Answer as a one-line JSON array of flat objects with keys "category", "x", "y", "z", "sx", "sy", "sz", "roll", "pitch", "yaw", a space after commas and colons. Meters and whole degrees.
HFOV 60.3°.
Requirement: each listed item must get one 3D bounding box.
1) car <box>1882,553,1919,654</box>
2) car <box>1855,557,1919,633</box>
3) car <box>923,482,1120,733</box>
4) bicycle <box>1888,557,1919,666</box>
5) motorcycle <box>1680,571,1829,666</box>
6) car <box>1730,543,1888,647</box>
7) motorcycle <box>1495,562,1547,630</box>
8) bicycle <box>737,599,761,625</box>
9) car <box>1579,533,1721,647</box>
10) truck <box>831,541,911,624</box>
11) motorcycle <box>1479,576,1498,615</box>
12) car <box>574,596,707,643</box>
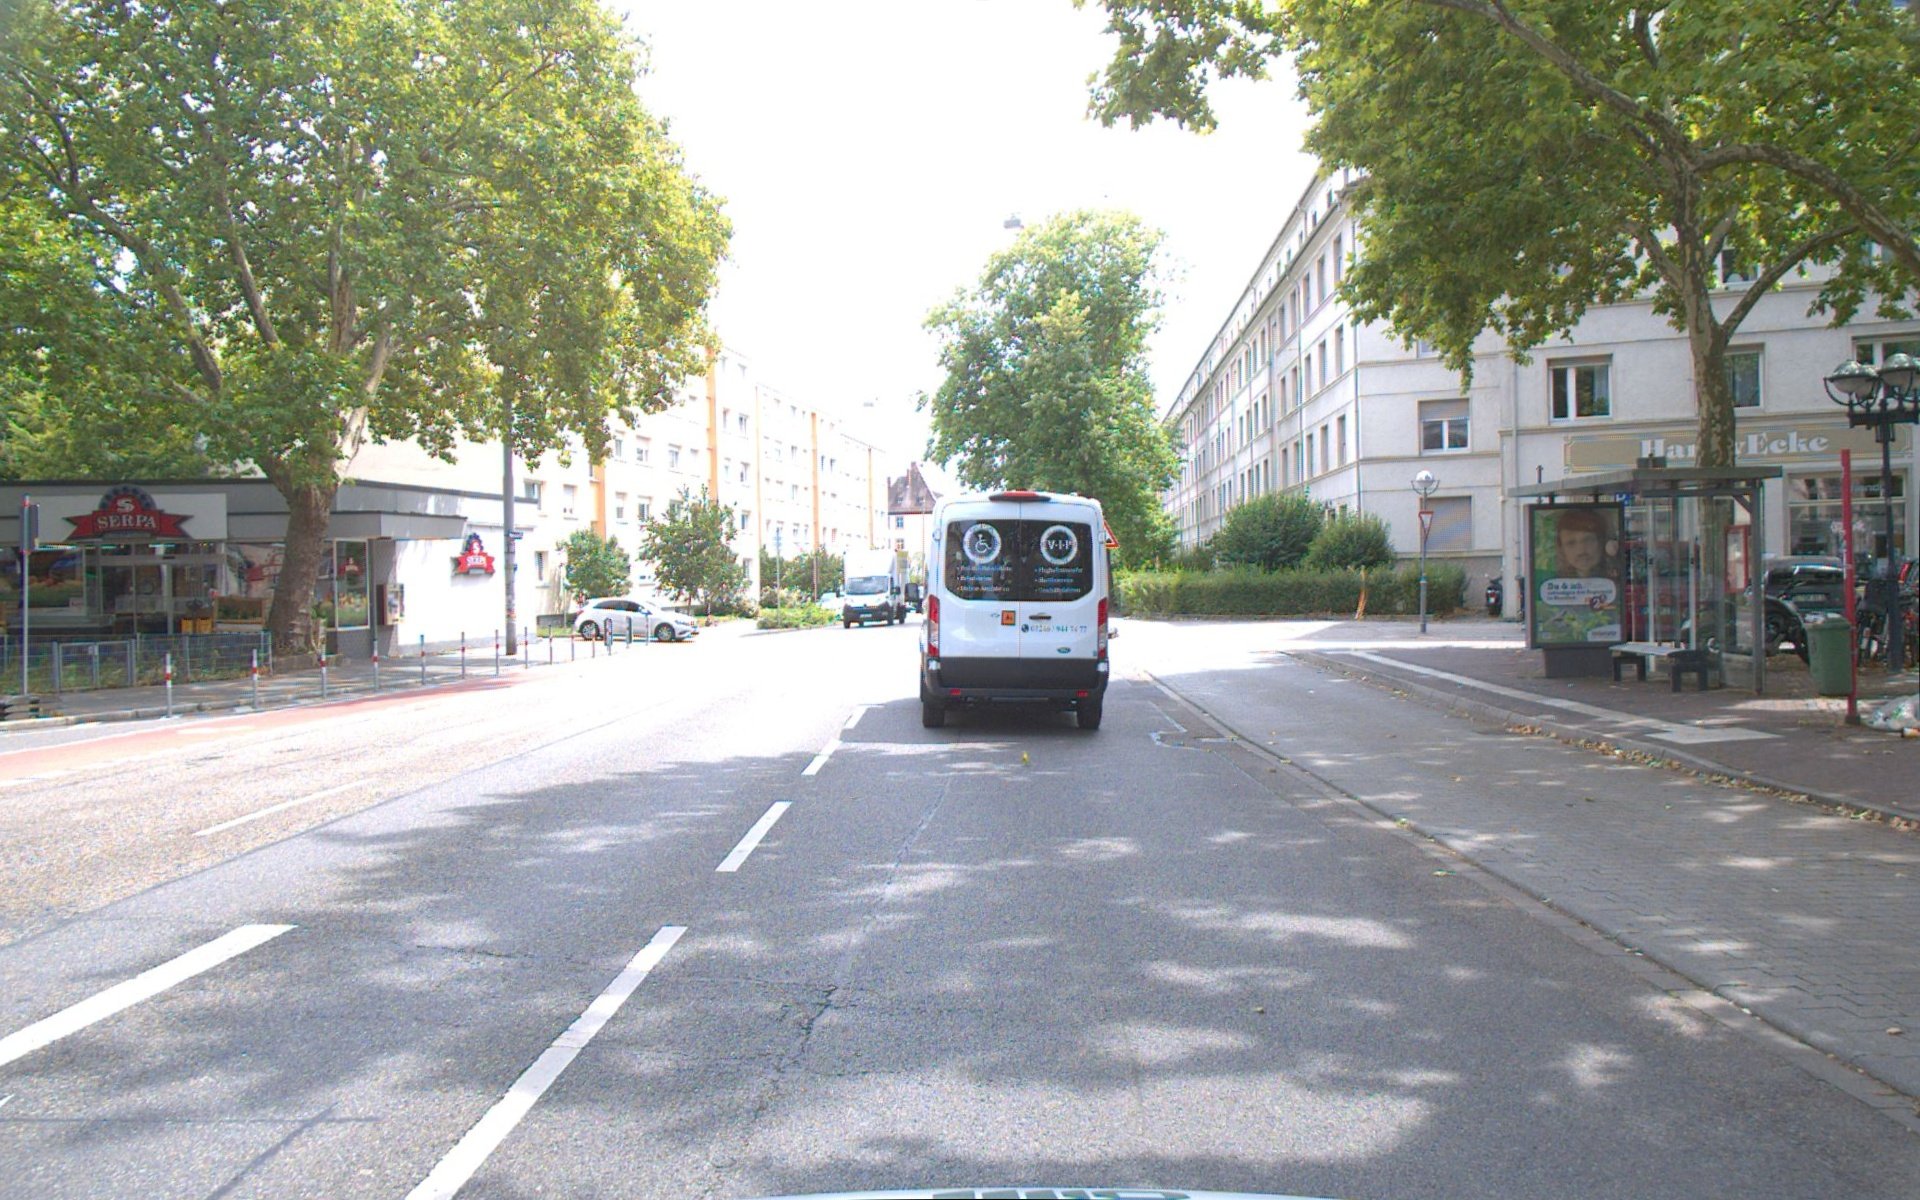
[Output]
[{"category": "car", "x": 15.657, "y": -0.013, "z": 25.835, "sx": 1.710, "sy": 1.489, "sz": 4.184, "roll": -2, "pitch": 0, "yaw": 23}, {"category": "car", "x": 20.488, "y": -0.145, "z": 35.306, "sx": 1.953, "sy": 1.530, "sz": 4.195, "roll": -1, "pitch": 1, "yaw": 22}, {"category": "car", "x": 0.719, "y": 0.056, "z": 19.335, "sx": 2.027, "sy": 2.584, "sz": 4.636, "roll": 0, "pitch": 0, "yaw": 2}, {"category": "bicycle", "x": 12.822, "y": 0.124, "z": 22.331, "sx": 0.411, "sy": 1.402, "sz": 2.306, "roll": -1, "pitch": 0, "yaw": 31}, {"category": "motorcycle", "x": 10.928, "y": 0.248, "z": 22.766, "sx": 1.817, "sy": 1.244, "sz": 0.530, "roll": -2, "pitch": 1, "yaw": -4}, {"category": "car", "x": 14.064, "y": -0.103, "z": 27.612, "sx": 1.789, "sy": 1.579, "sz": 4.001, "roll": -2, "pitch": 0, "yaw": 20}, {"category": "motorcycle", "x": 13.176, "y": -0.111, "z": 38.895, "sx": 0.814, "sy": 1.487, "sz": 2.308, "roll": -2, "pitch": 2, "yaw": 11}, {"category": "bicycle", "x": -11.246, "y": 0.621, "z": 88.076, "sx": 0.566, "sy": 1.273, "sz": 1.935, "roll": -1, "pitch": 1, "yaw": 14}, {"category": "car", "x": 11.508, "y": -0.182, "z": 27.830, "sx": 1.892, "sy": 1.735, "sz": 4.332, "roll": -2, "pitch": 0, "yaw": 19}, {"category": "truck", "x": -3.661, "y": -0.733, "z": 69.526, "sx": 2.488, "sy": 3.161, "sz": 7.023, "roll": -3, "pitch": 0, "yaw": 3}, {"category": "motorcycle", "x": 14.753, "y": -0.135, "z": 46.168, "sx": 0.423, "sy": 1.033, "sz": 1.449, "roll": -1, "pitch": 2, "yaw": 20}, {"category": "car", "x": -10.926, "y": 0.665, "z": 56.707, "sx": 4.083, "sy": 1.476, "sz": 1.850, "roll": 1, "pitch": 0, "yaw": 5}]
